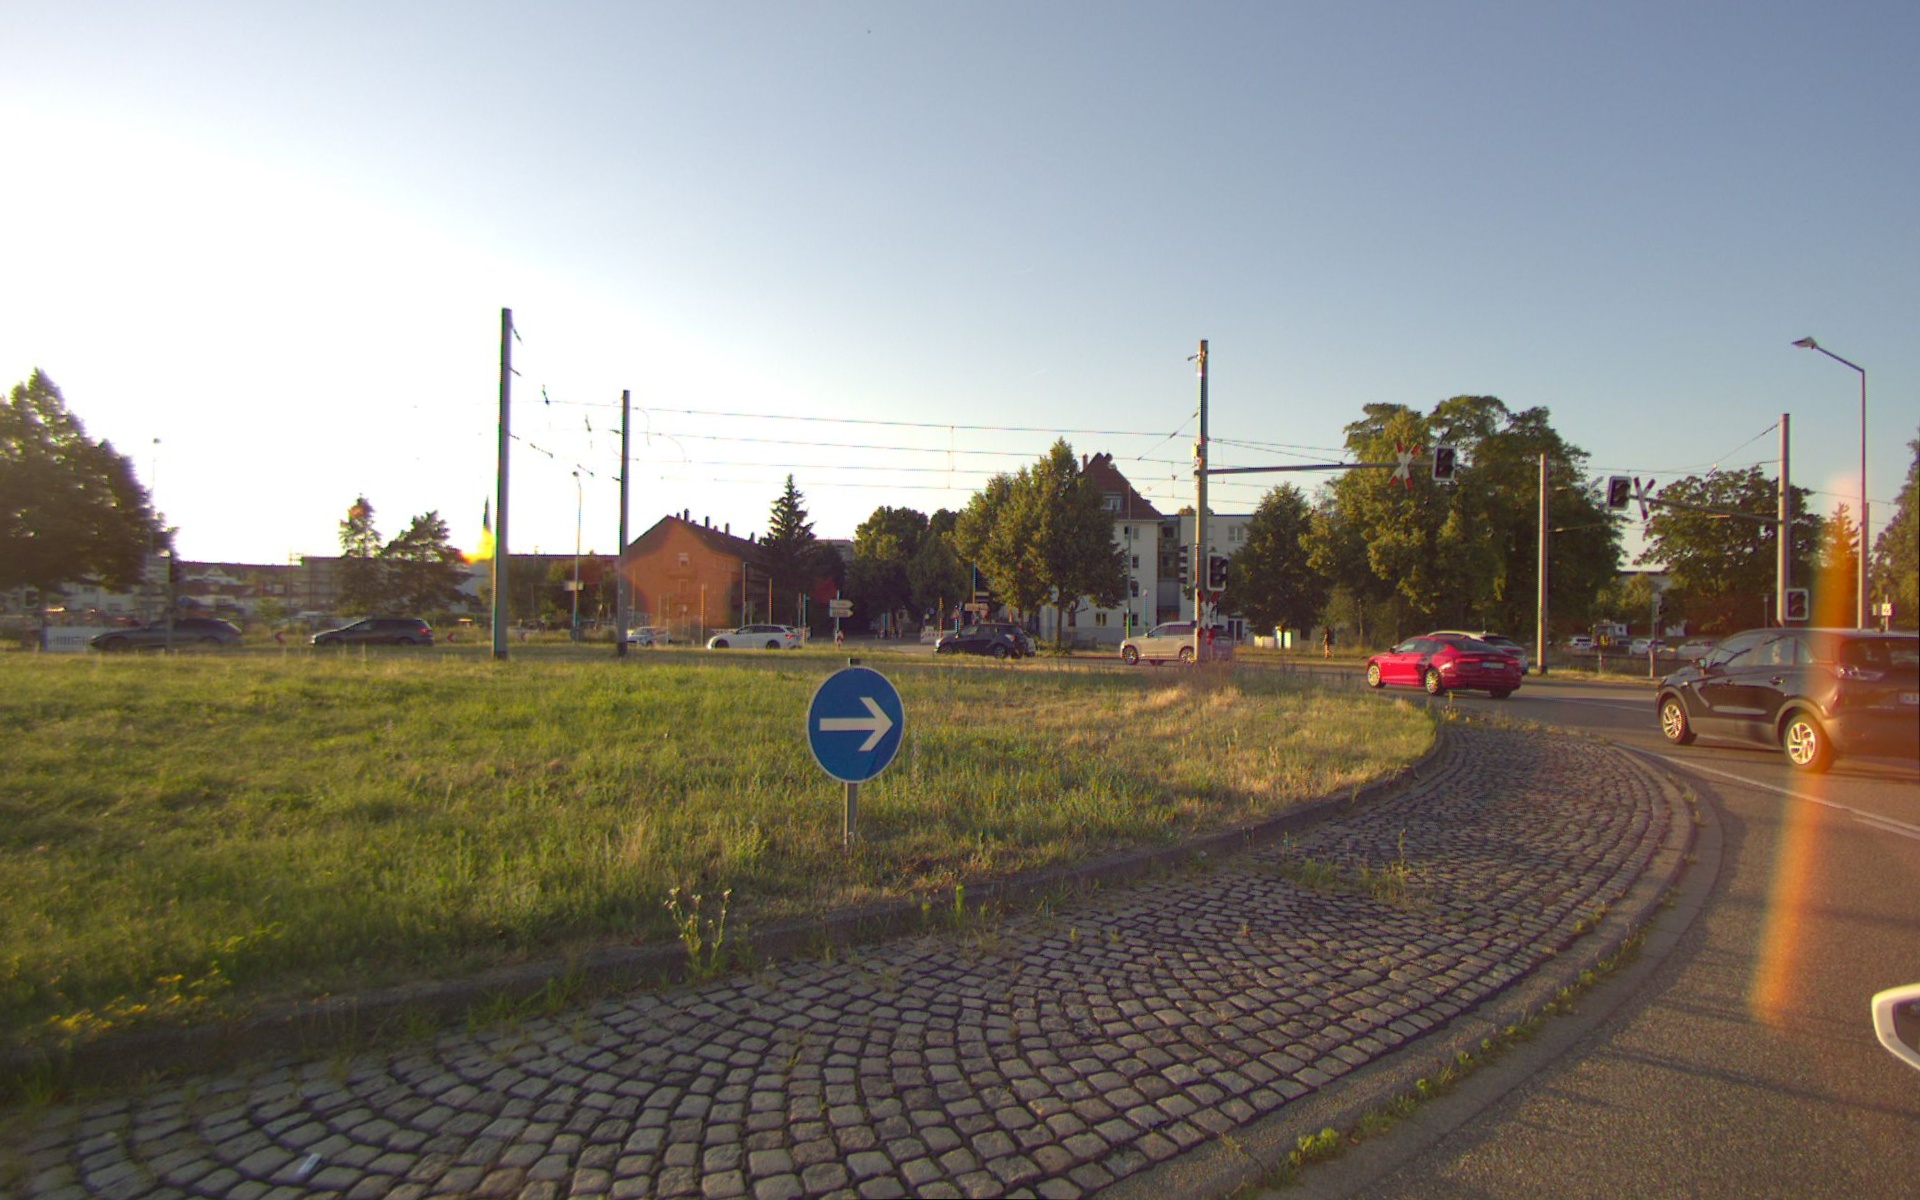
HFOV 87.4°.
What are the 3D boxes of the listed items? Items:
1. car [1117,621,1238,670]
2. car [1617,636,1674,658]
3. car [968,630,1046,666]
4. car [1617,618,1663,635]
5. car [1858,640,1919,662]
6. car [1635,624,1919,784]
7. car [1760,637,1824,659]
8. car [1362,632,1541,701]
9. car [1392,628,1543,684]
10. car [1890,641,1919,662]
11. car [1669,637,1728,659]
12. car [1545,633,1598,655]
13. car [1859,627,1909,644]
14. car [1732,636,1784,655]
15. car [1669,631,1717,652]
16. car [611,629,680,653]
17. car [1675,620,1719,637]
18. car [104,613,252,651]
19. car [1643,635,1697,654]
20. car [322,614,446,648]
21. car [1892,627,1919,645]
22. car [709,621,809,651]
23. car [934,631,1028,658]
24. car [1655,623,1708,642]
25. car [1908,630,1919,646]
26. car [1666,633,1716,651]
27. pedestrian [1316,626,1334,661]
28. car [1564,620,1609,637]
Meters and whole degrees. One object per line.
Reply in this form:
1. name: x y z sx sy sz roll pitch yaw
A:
1. car: 8.588 1.759 39.994 1.879 1.759 4.579 1 -1 -38
2. car: 54.752 3.701 80.332 1.960 1.625 4.002 1 -1 3
3. car: 2.630 2.651 56.313 3.929 1.840 1.996 0 -1 30
4. car: 86.251 3.382 127.434 4.505 2.040 2.001 1 -1 5
5. car: 73.878 4.013 79.620 1.960 1.625 4.002 1 -1 3
6. car: 10.234 1.115 12.180 1.857 1.605 4.003 1 -1 8
7. car: 66.364 3.788 80.165 1.960 1.625 4.002 1 -1 3
8. car: 11.601 1.527 24.102 1.859 1.410 4.495 1 -1 -4
9. car: 17.333 1.873 34.592 1.968 1.728 4.699 1 -1 -17
10. car: 76.348 4.087 79.469 1.960 1.625 4.002 1 -1 3
11. car: 59.511 3.848 81.033 1.960 1.625 4.002 1 -1 3
12. car: 49.410 3.543 81.224 1.960 1.625 4.002 1 -1 3
13. car: 108.029 4.128 117.442 3.919 1.840 2.001 1 -1 5
14. car: 77.343 4.418 97.409 3.938 1.684 1.894 0 -1 39
15. car: 75.494 4.216 103.494 3.934 2.040 1.994 0 -1 35
16. car: -19.891 2.580 63.744 2.068 1.385 4.469 0 -1 15
17. car: 93.202 3.589 127.025 4.033 2.040 2.001 1 -1 4
18. car: -30.669 1.253 39.565 4.299 1.394 1.985 1 -1 -29
19. car: 69.207 4.329 97.926 3.919 1.684 1.904 1 -1 5
20. car: -24.306 1.311 42.566 4.323 1.394 1.989 1 -1 -24
21. car: 107.449 4.029 112.590 3.919 2.040 2.001 1 -1 11
22. car: -9.941 1.787 49.881 4.376 1.385 2.112 1 -1 10
23. car: 0.963 2.007 45.760 3.925 1.119 1.688 0 -1 25
24. car: 80.226 3.646 111.735 4.507 2.040 2.000 1 -1 0
25. car: 105.581 4.112 108.713 1.971 1.728 3.979 1 -1 -22
26. car: 73.157 4.187 100.570 3.934 1.684 1.994 0 -1 35
27. pedestrian: 20.154 2.402 55.452 0.614 1.918 0.662 2 0 -35
28. car: 79.576 3.651 127.618 4.507 2.040 2.000 1 -1 0
